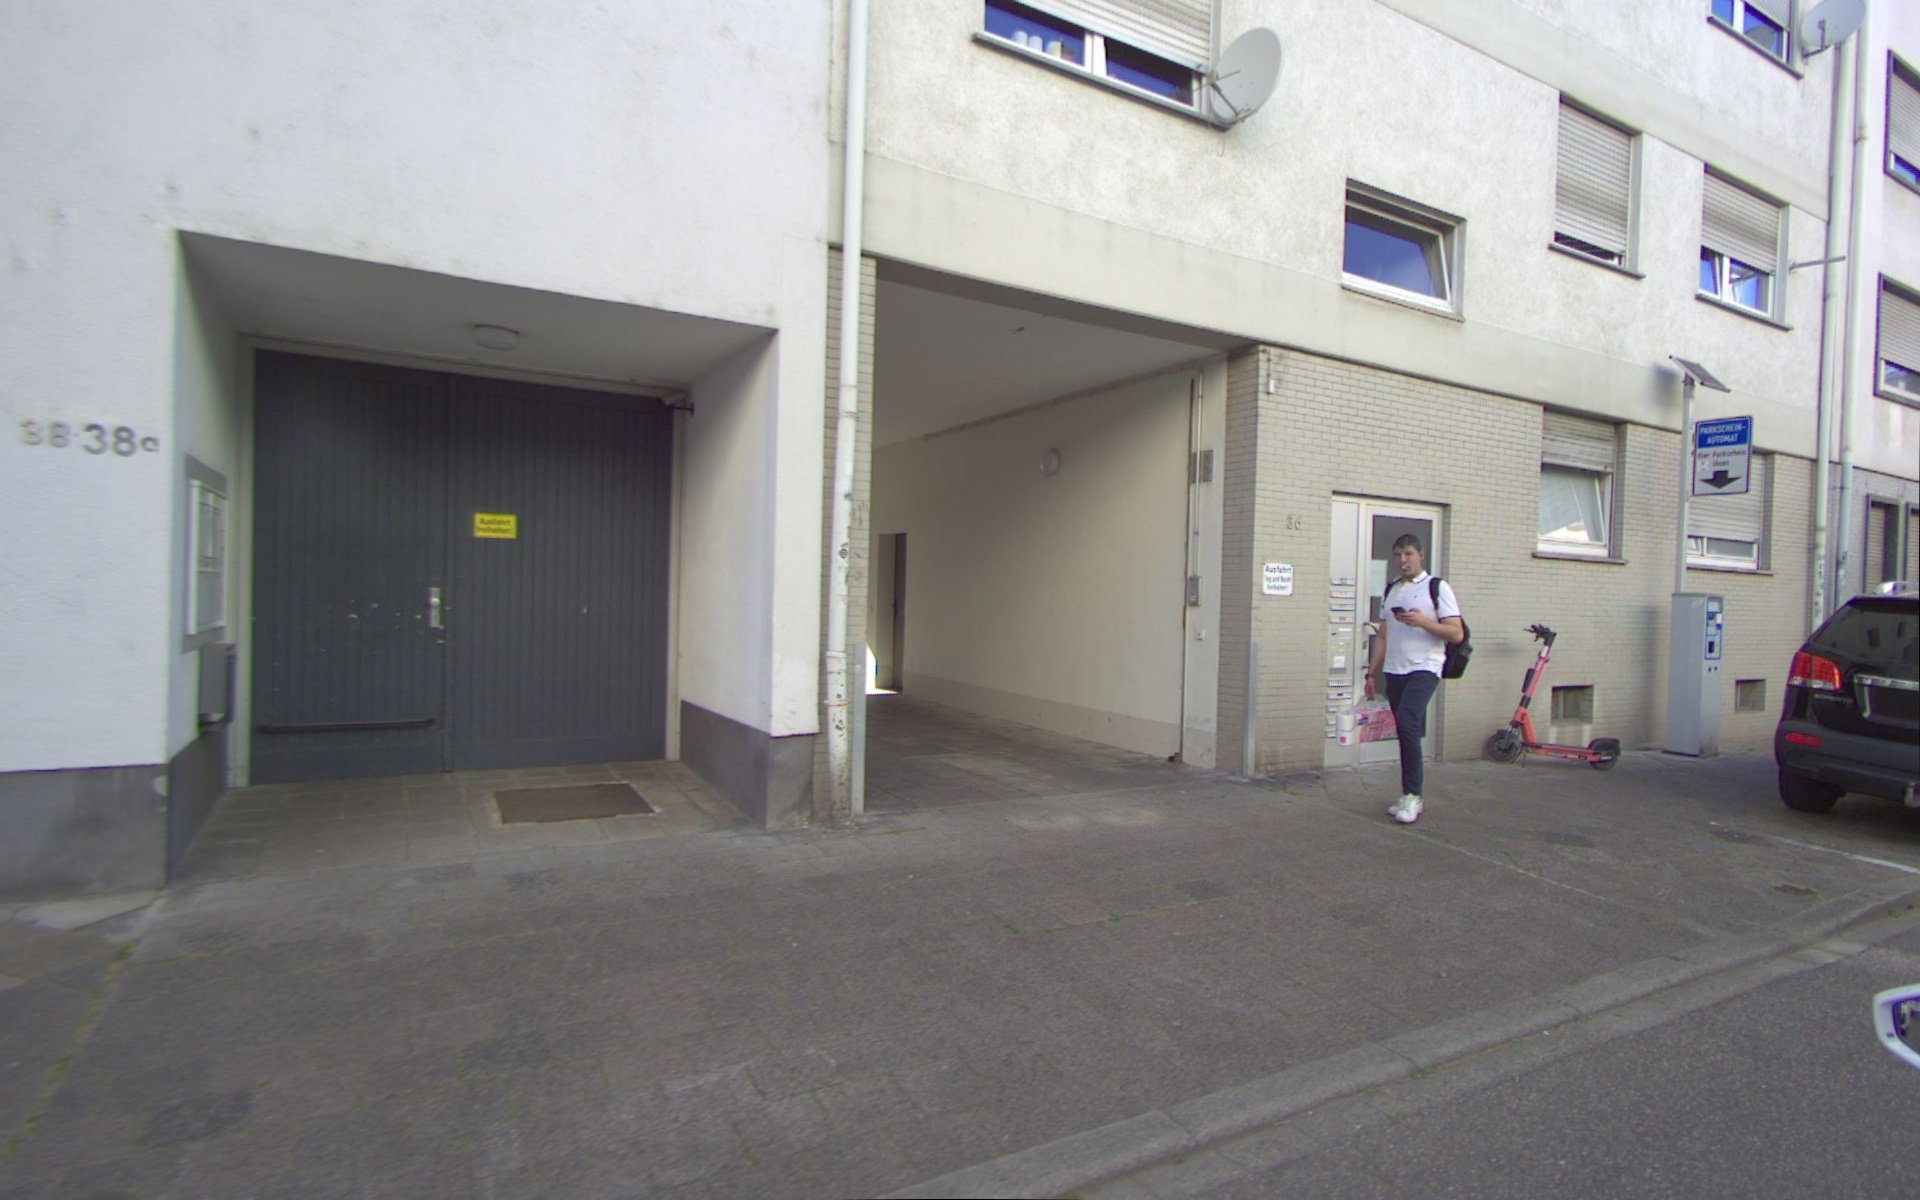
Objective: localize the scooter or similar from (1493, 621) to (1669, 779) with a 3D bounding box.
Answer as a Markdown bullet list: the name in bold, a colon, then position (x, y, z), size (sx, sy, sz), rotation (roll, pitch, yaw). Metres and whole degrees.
- **scooter or similar**: position (5.414, 0.848, 8.805), size (1.208, 1.295, 0.438), rotation (1, 0, 12)

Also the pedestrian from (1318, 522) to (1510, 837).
- **pedestrian**: position (3.016, 0.480, 6.724), size (0.682, 1.960, 0.802), rotation (1, 3, -30)

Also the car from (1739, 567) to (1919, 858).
- **car**: position (7.916, 0.758, 7.507), size (4.495, 1.779, 1.868), rotation (1, 4, -34)
